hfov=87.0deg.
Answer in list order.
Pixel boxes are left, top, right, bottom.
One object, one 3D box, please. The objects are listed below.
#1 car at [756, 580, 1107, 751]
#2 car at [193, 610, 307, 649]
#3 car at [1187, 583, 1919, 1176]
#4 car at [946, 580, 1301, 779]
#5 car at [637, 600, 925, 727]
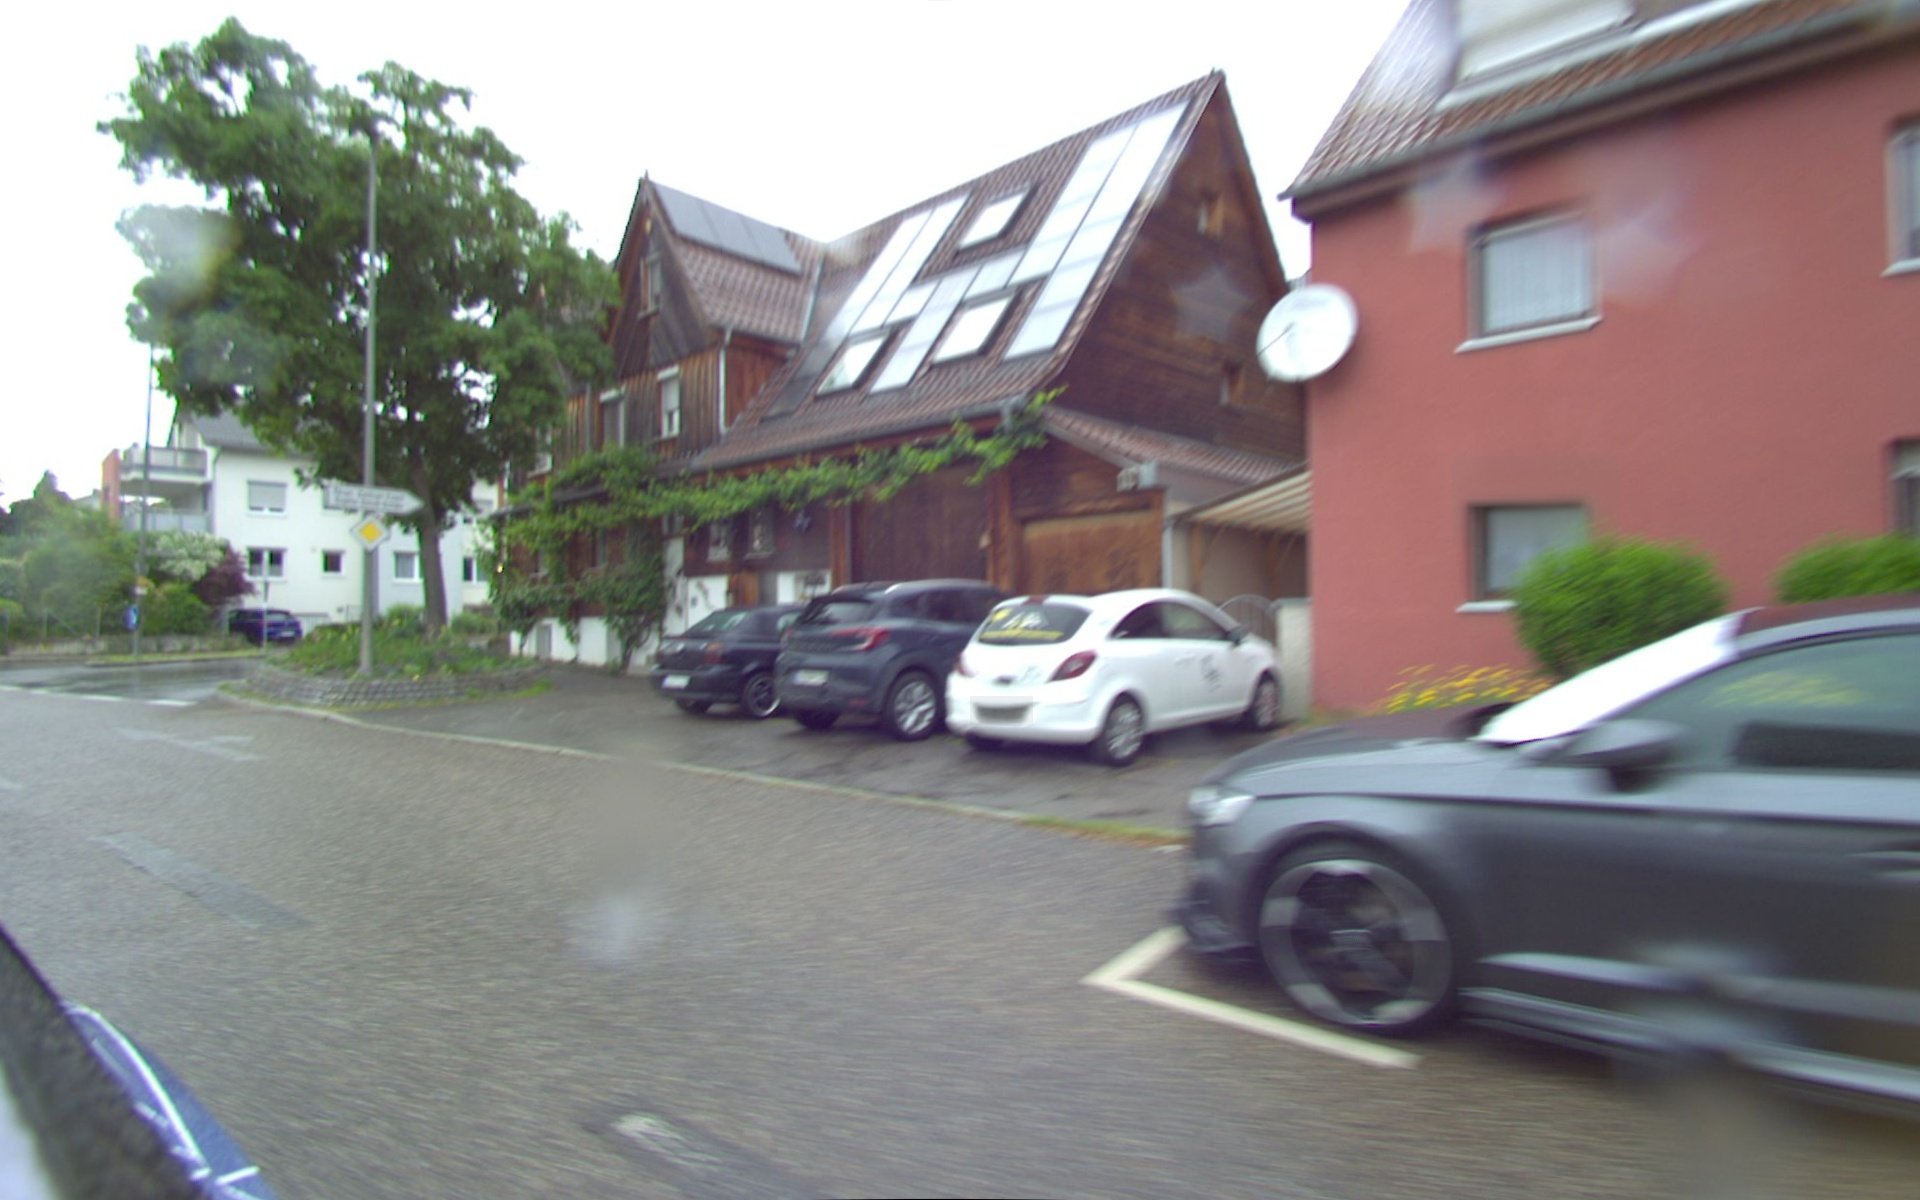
[{"bbox_3d":[-0.216,0.590,11.187,3.534,1.517,1.857,-2,1,-45],"label":"car"},{"bbox_3d":[-27.144,1.131,38.695,3.596,1.432,1.767,0,-1,18],"label":"car"},{"bbox_3d":[2.884,0.639,2.847,4.108,1.366,1.610,-1,0,41],"label":"car"},{"bbox_3d":[1.639,0.585,9.390,1.591,1.490,3.423,-1,0,43],"label":"car"},{"bbox_3d":[-2.232,0.751,13.172,1.633,1.429,3.407,-1,-2,43],"label":"car"}]
